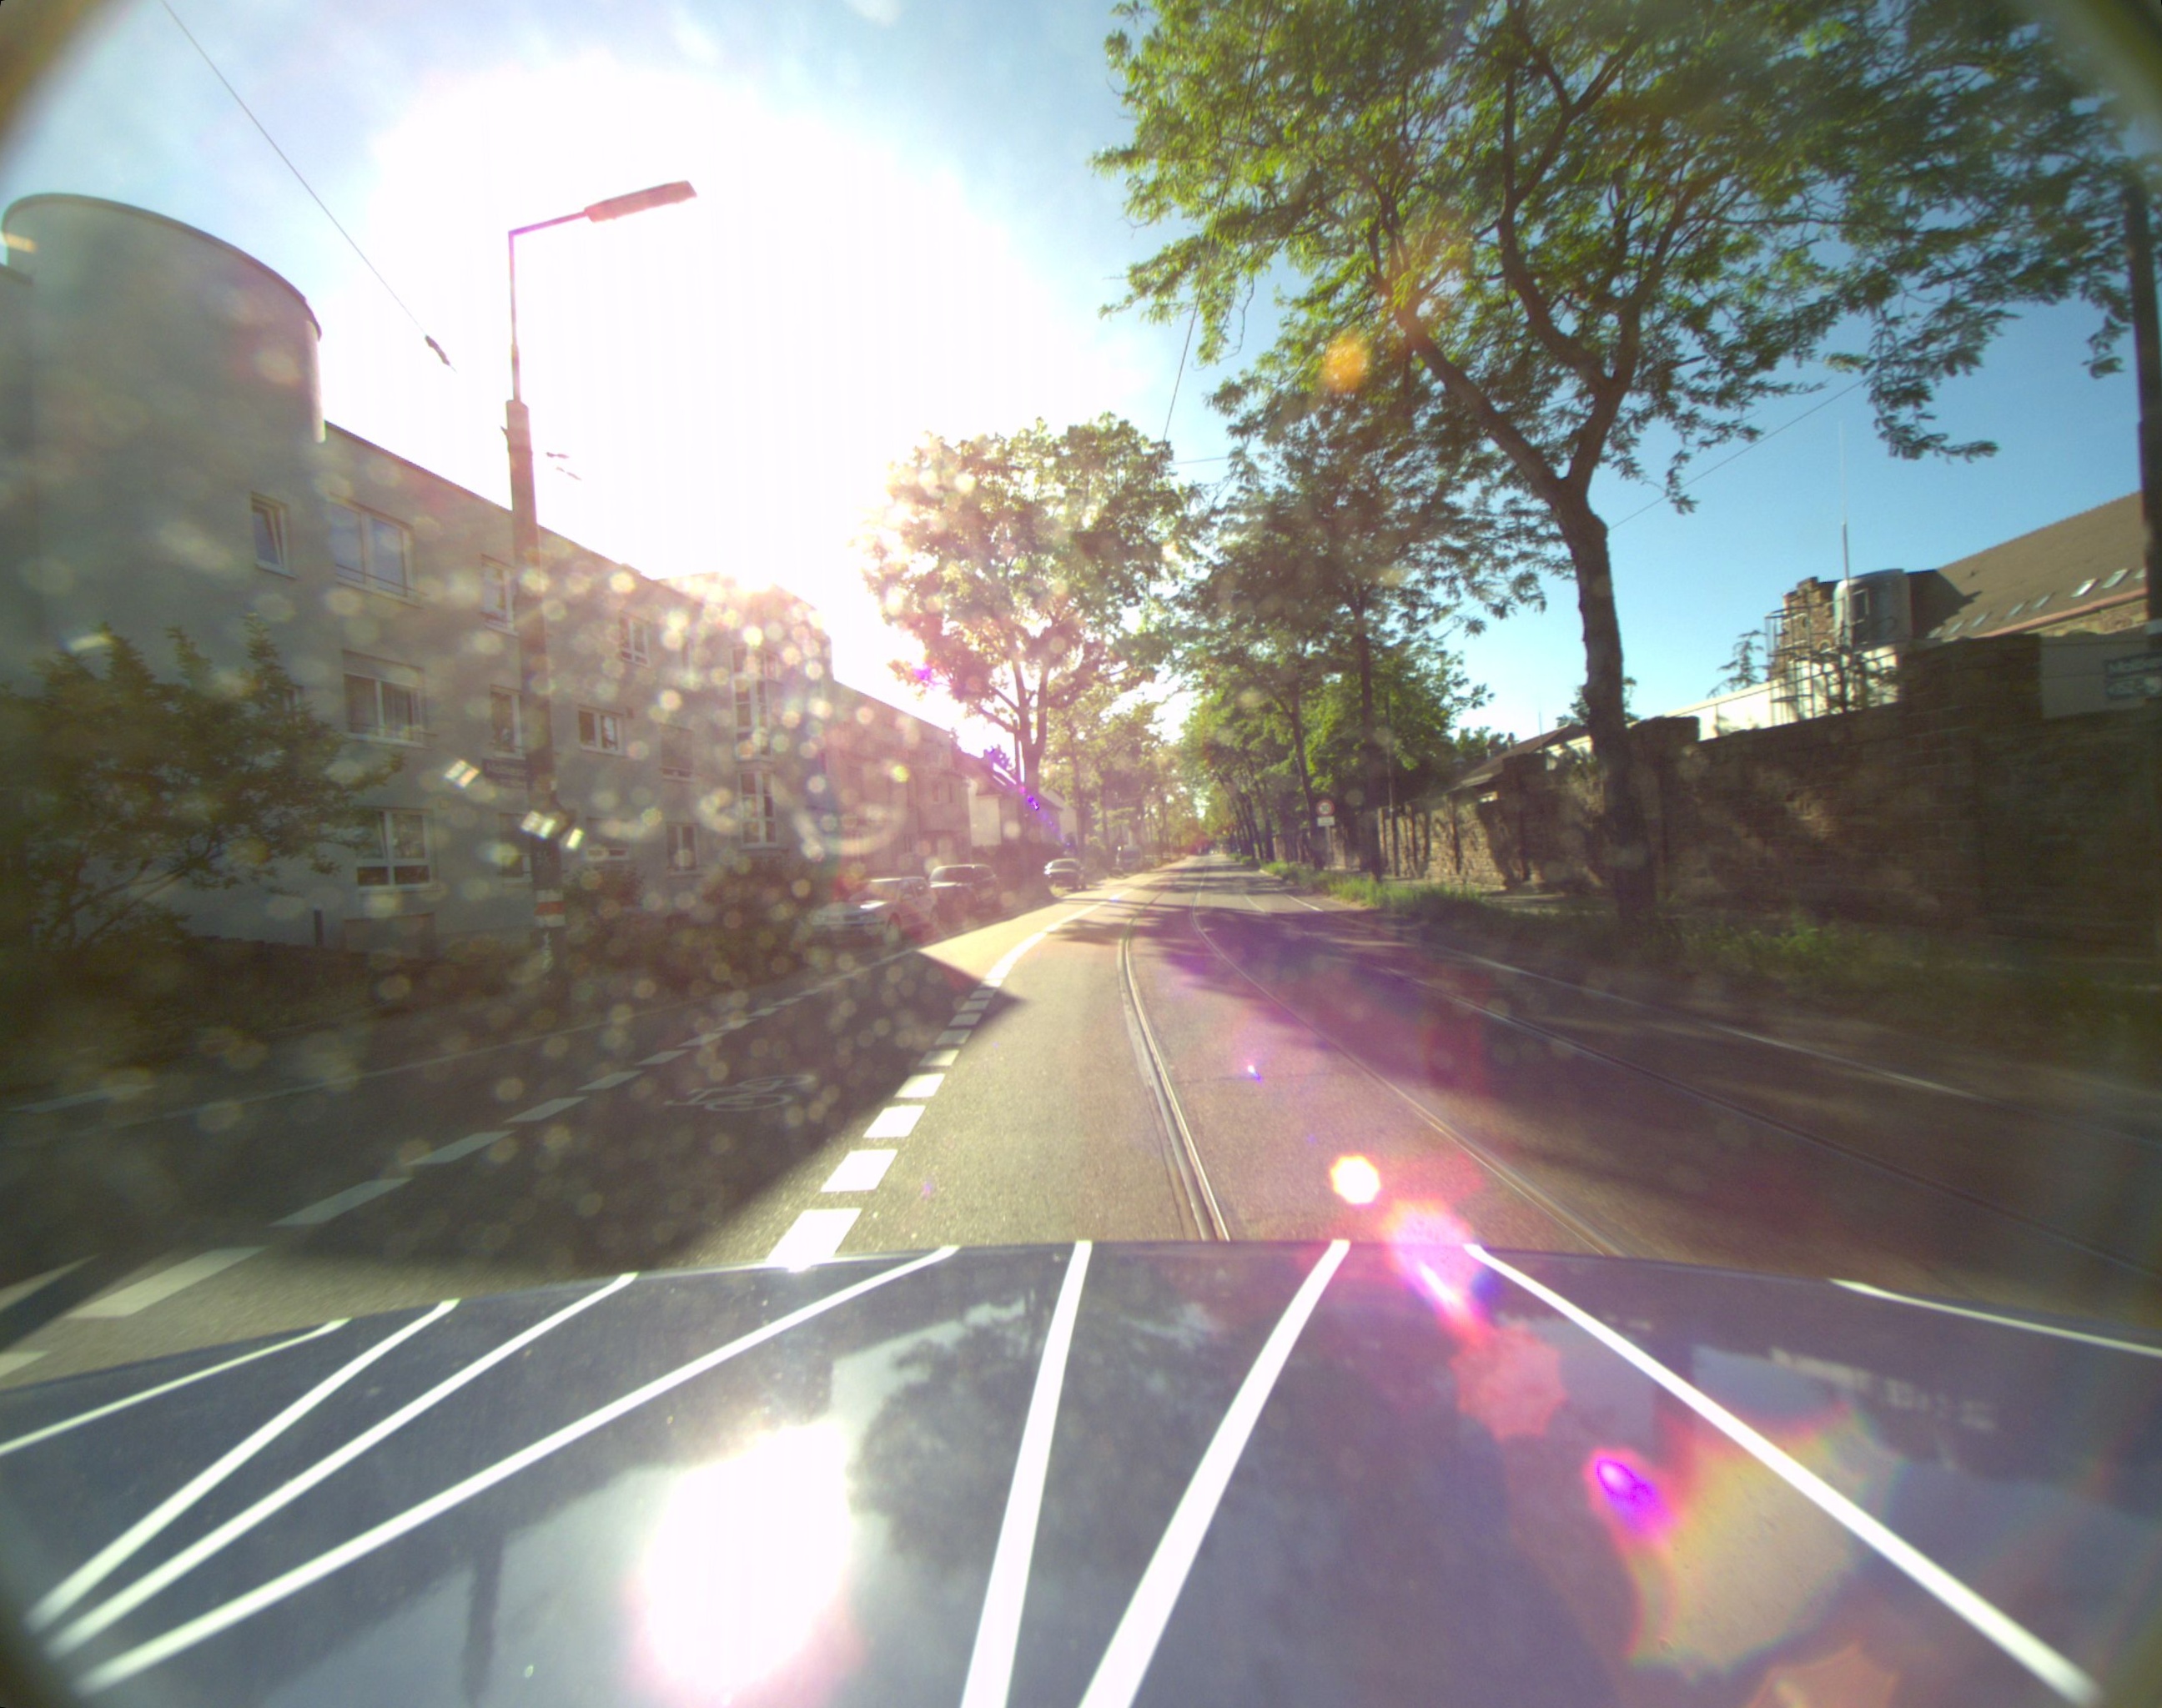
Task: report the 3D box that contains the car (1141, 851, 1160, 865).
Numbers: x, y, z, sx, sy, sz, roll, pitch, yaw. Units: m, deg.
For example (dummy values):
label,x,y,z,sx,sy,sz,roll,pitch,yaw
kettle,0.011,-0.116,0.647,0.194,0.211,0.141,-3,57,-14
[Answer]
label,x,y,z,sx,sy,sz,roll,pitch,yaw
car,8.565,0.520,93.620,1.662,1.527,4.004,-3,0,14

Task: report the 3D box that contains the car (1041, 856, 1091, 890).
label,x,y,z,sx,sy,sz,roll,pitch,yaw
car,-0.723,0.983,40.711,1.879,1.509,4.651,-4,0,8

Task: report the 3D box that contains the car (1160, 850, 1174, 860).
label,x,y,z,sx,sy,sz,roll,pitch,yaw
car,14.350,0.172,126.645,1.997,1.474,4.003,-3,0,10

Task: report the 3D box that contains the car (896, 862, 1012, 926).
label,x,y,z,sx,sy,sz,roll,pitch,yaw
car,-3.767,1.145,23.508,1.997,1.607,4.604,-3,1,11

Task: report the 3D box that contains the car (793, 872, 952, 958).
label,x,y,z,sx,sy,sz,roll,pitch,yaw
car,-4.675,1.308,17.829,1.741,1.487,4.532,-4,0,10

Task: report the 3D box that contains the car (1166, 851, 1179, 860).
label,x,y,z,sx,sy,sz,roll,pitch,yaw
car,16.704,0.243,138.397,1.997,1.410,4.001,-3,2,10

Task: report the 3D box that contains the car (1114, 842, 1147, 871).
label,x,y,z,sx,sy,sz,roll,pitch,yaw
car,4.765,0.191,72.391,2.295,2.575,5.722,-4,0,10

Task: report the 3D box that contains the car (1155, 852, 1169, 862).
label,x,y,z,sx,sy,sz,roll,pitch,yaw
car,12.517,0.413,117.409,1.787,1.368,3.657,-4,0,10
